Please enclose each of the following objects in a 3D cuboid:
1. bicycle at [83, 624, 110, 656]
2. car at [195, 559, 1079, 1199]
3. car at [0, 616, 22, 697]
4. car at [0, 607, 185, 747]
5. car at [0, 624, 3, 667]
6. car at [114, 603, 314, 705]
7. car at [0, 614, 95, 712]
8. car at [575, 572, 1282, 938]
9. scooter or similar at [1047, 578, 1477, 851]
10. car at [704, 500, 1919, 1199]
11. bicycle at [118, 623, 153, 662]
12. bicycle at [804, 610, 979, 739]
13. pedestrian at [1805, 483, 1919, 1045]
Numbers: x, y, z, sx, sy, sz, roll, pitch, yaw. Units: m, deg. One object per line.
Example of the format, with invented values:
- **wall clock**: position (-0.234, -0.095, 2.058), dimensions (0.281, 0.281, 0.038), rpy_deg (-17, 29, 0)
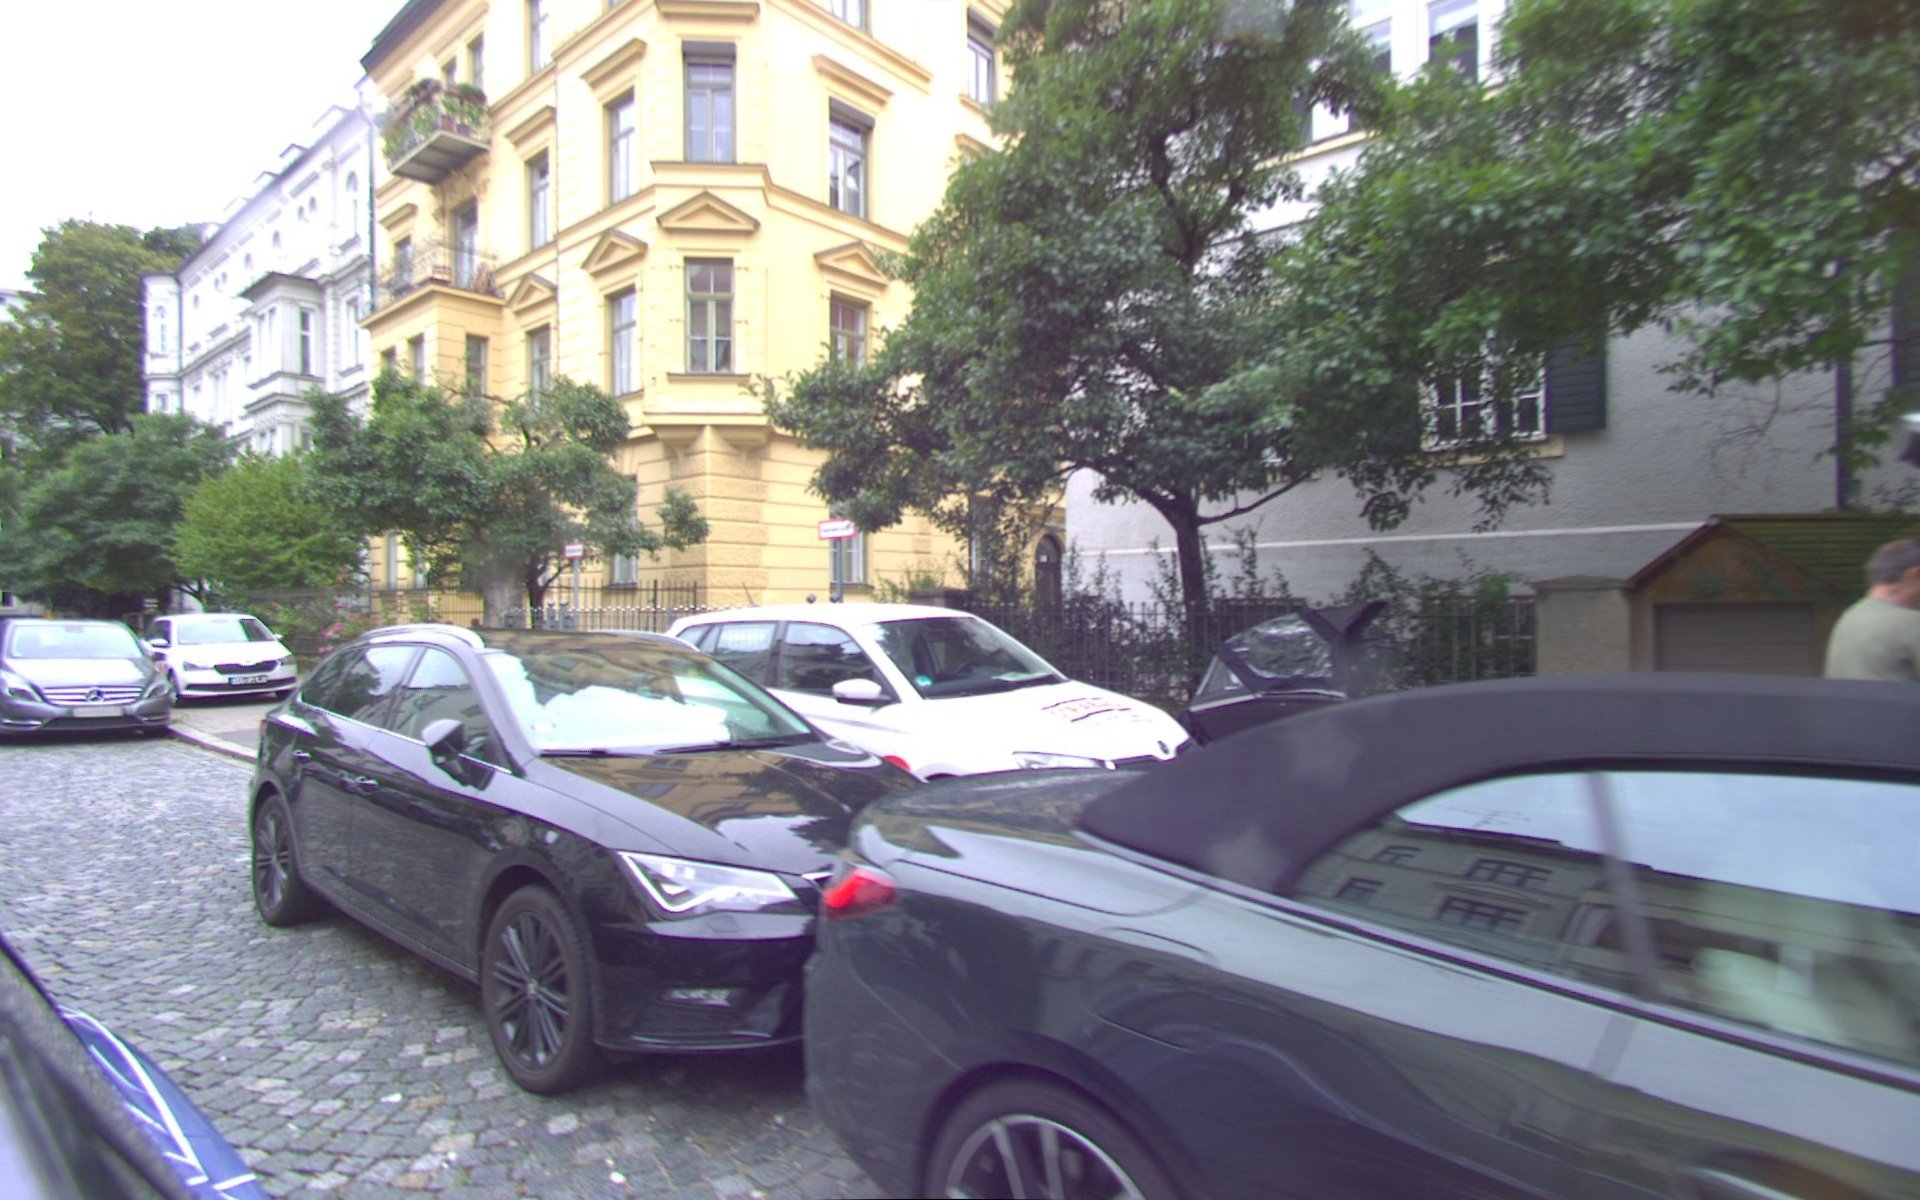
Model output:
- **bicycle**: position (-30.663, 1.397, 35.933), dimensions (1.694, 1.059, 0.458), rpy_deg (0, 3, 41)
- **car**: position (-1.824, 0.750, 4.642), dimensions (4.534, 1.615, 1.722), rpy_deg (-1, -2, 40)
- **car**: position (-20.979, 1.128, 20.876), dimensions (4.188, 1.598, 1.822), rpy_deg (-1, -2, 40)
- **car**: position (-12.141, 0.923, 13.597), dimensions (4.186, 1.598, 1.723), rpy_deg (-1, -2, 38)
- **car**: position (-24.994, 1.285, 24.704), dimensions (4.639, 1.521, 1.799), rpy_deg (0, -3, 40)
- **car**: position (-12.790, 0.832, 17.250), dimensions (4.387, 1.477, 1.823), rpy_deg (-1, 1, 41)
- **car**: position (-16.508, 0.996, 17.212), dimensions (5.128, 1.481, 1.851), rpy_deg (-1, -2, 39)
- **car**: position (-0.469, 0.671, 6.415), dimensions (4.463, 1.548, 1.722), rpy_deg (-1, 1, 40)
- **scooter or similar**: position (1.981, 0.666, 6.980), dimensions (2.633, 1.535, 1.051), rpy_deg (-1, -1, 41)
- **car**: position (1.865, 0.668, 1.277), dimensions (4.911, 1.466, 1.795), rpy_deg (-1, -3, 42)
- **bicycle**: position (-25.870, 1.316, 31.732), dimensions (1.789, 1.132, 0.504), rpy_deg (0, 3, 41)
- **bicycle**: position (-0.780, 0.752, 10.921), dimensions (2.059, 1.268, 0.599), rpy_deg (-1, 0, 41)
- **pedestrian**: position (3.123, 0.480, 3.246), dimensions (0.582, 1.662, 0.758), rpy_deg (-1, 0, 42)
